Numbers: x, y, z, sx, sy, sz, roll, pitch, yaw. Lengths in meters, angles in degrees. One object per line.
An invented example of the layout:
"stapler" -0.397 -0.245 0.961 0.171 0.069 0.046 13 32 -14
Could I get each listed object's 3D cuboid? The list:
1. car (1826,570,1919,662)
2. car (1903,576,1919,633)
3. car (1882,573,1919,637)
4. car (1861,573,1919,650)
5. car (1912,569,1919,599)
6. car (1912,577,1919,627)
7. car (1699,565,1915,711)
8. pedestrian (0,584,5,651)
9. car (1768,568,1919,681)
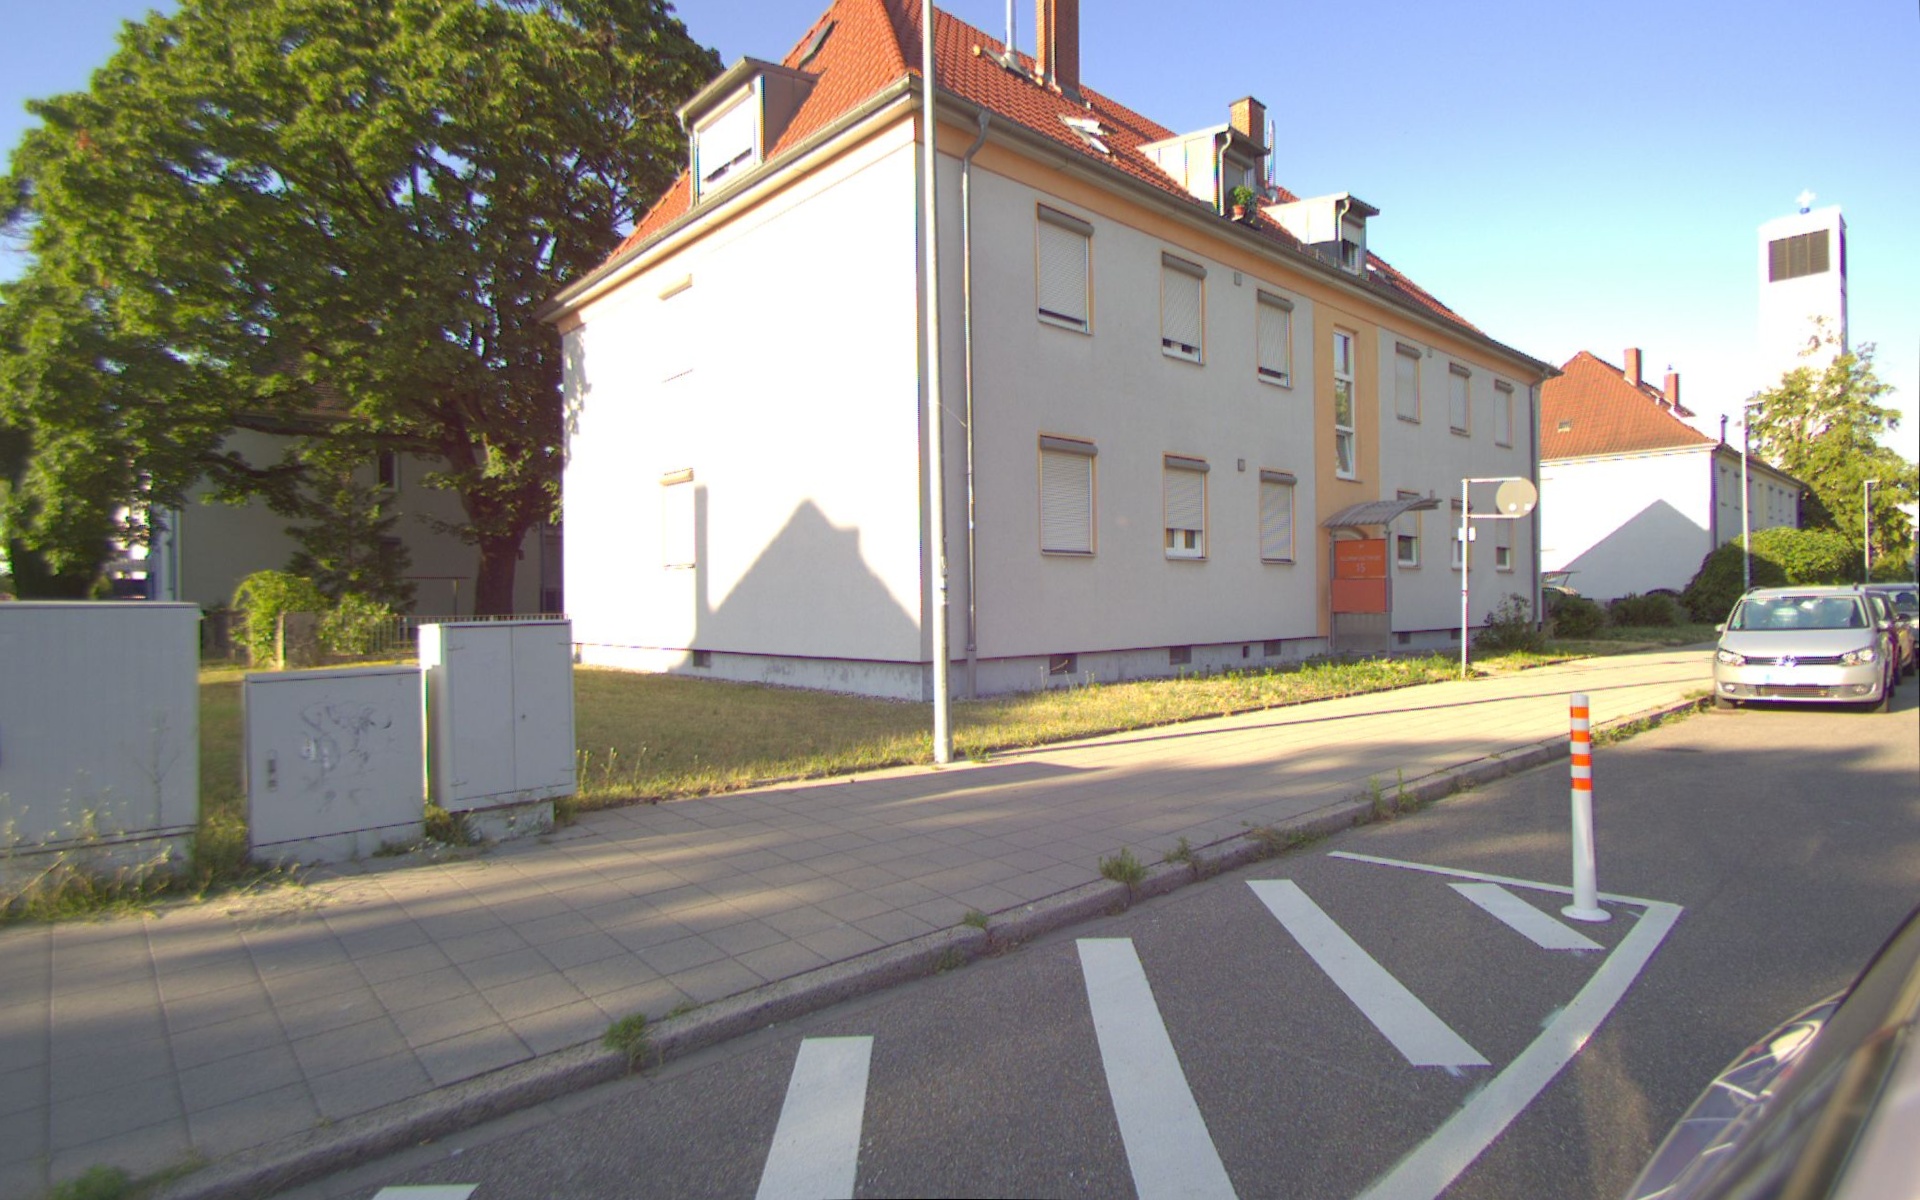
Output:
"car" 19.106 0.274 20.600 3.935 1.717 1.845 -1 -1 -44
"car" 31.062 0.075 31.804 3.935 1.717 1.845 -1 -1 -44
"car" 27.322 0.092 28.425 3.935 1.717 1.845 -1 -1 -44
"car" 22.919 0.229 24.126 3.935 1.717 1.845 -1 -1 -44
"car" 55.778 -0.966 57.803 3.935 1.717 1.845 -1 -1 -44
"car" 34.785 0.010 35.491 3.935 1.717 1.845 -1 -1 -44
"car" 11.707 0.442 13.903 3.935 1.717 1.845 -1 -1 -44
"pedestrian" -29.473 0.537 30.587 0.884 2.039 0.691 -1 0 -44
"car" 15.400 0.378 17.392 3.935 1.717 1.845 -1 -1 -44
